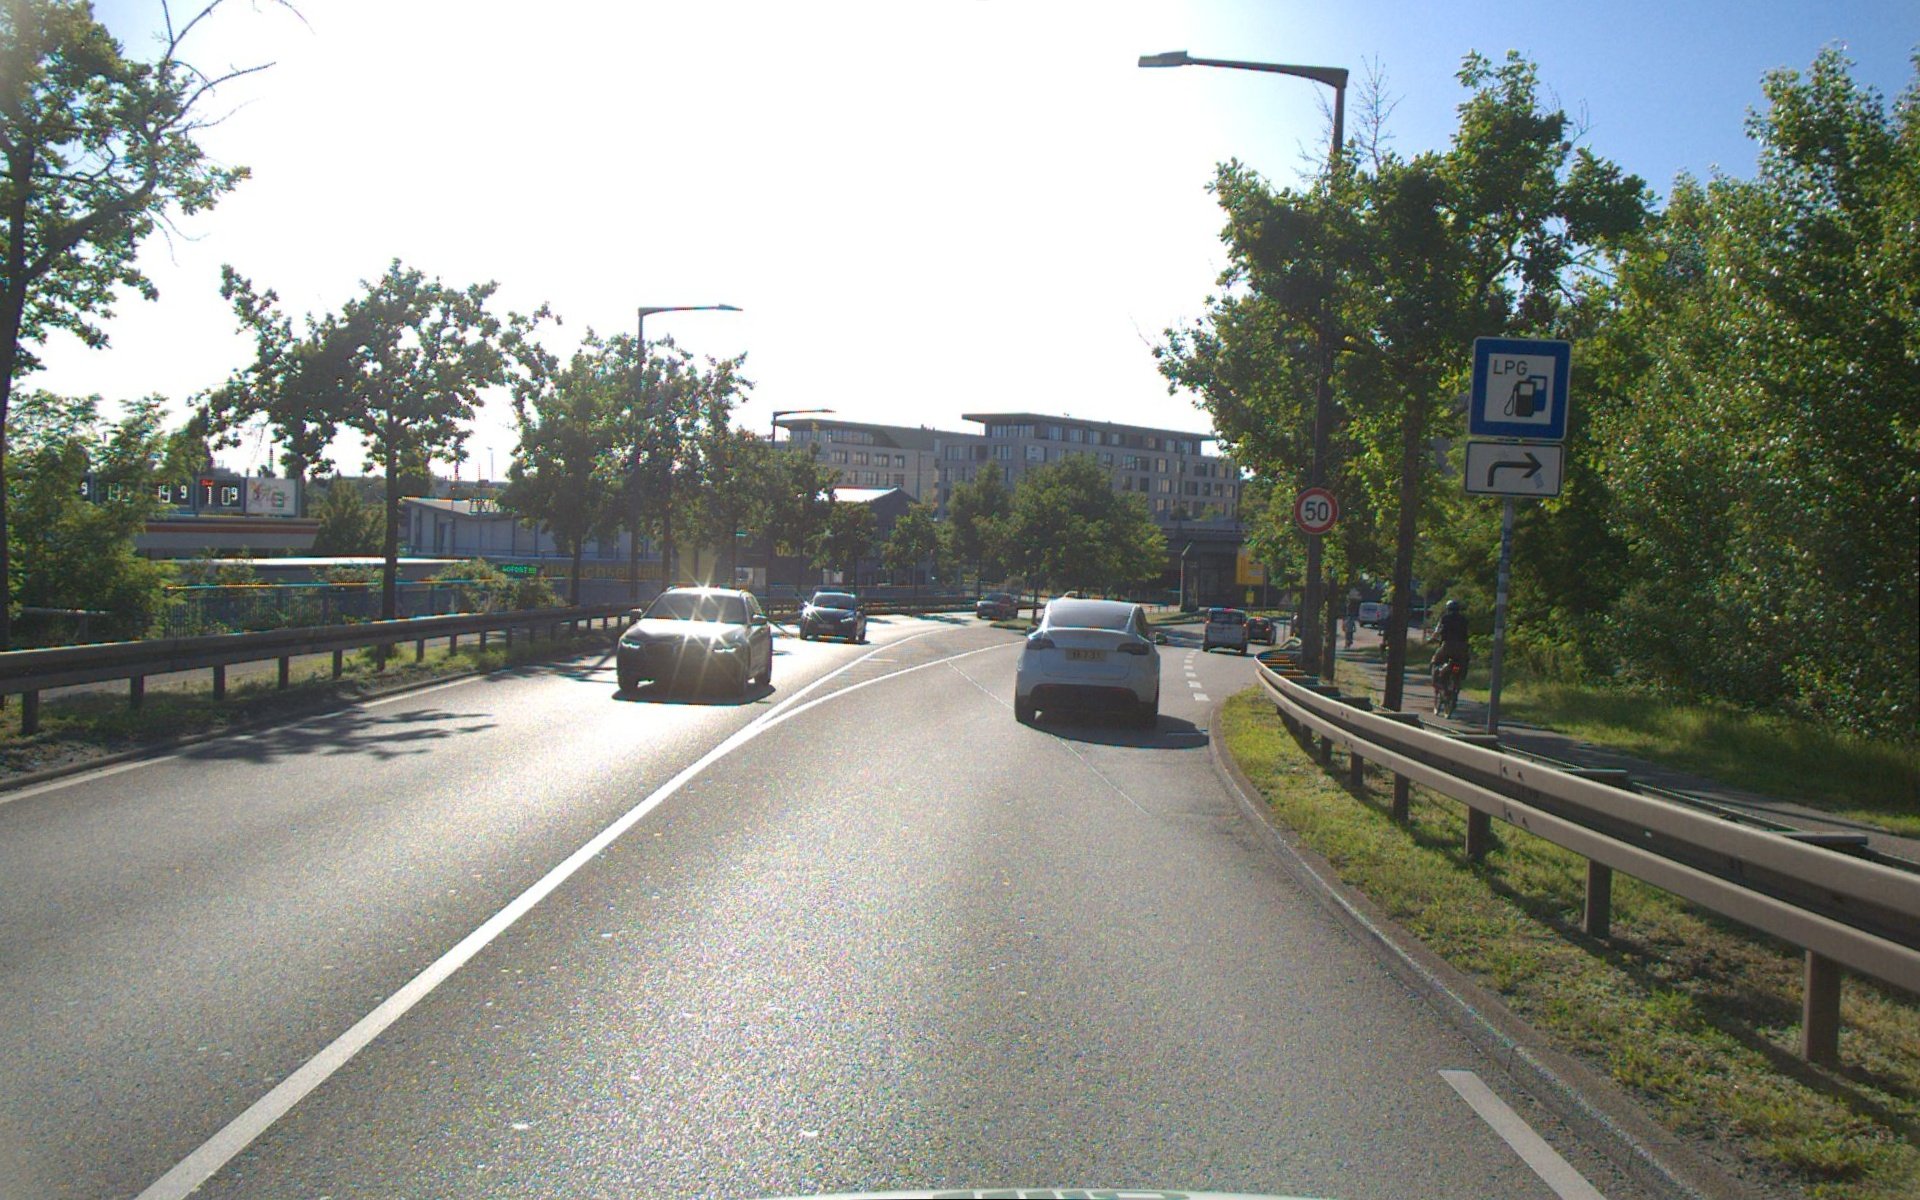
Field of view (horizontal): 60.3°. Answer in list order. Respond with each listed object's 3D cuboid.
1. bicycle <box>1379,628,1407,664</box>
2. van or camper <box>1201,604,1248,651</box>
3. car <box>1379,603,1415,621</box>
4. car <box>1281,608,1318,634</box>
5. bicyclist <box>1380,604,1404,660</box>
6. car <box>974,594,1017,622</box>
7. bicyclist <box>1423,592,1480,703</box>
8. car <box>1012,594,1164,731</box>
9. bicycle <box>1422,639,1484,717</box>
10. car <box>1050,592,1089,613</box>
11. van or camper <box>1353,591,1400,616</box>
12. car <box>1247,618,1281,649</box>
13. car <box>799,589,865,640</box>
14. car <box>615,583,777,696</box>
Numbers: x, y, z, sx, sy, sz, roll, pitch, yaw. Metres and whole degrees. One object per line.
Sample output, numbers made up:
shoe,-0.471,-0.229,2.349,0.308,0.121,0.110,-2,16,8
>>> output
bicycle,14.529,1.528,55.463,0.681,1.114,2.118,1,0,20
van or camper,11.708,1.162,72.935,1.916,1.916,4.884,1,0,10
car,39.463,1.078,149.333,1.682,1.548,3.723,4,3,40
car,23.079,1.407,112.381,1.727,1.501,4.289,3,2,21
bicyclist,14.445,1.060,55.290,0.661,1.807,0.948,1,0,20
car,2.132,0.494,98.001,1.725,1.514,4.280,4,0,11
bicyclist,7.285,0.687,24.540,0.692,1.606,1.005,1,0,11
car,1.841,0.771,22.881,1.873,1.669,4.413,1,0,6
bicycle,7.275,1.129,24.483,0.686,1.093,1.923,1,-1,11
car,8.112,0.184,122.491,1.694,1.409,4.497,4,1,19
van or camper,32.579,0.265,129.343,1.797,1.821,4.524,5,3,38
car,17.298,1.867,94.088,1.570,1.459,3.682,4,3,14
car,-3.949,0.411,51.530,1.630,1.471,3.850,2,0,1
car,-3.875,0.531,24.964,1.772,1.523,4.368,1,0,-1
